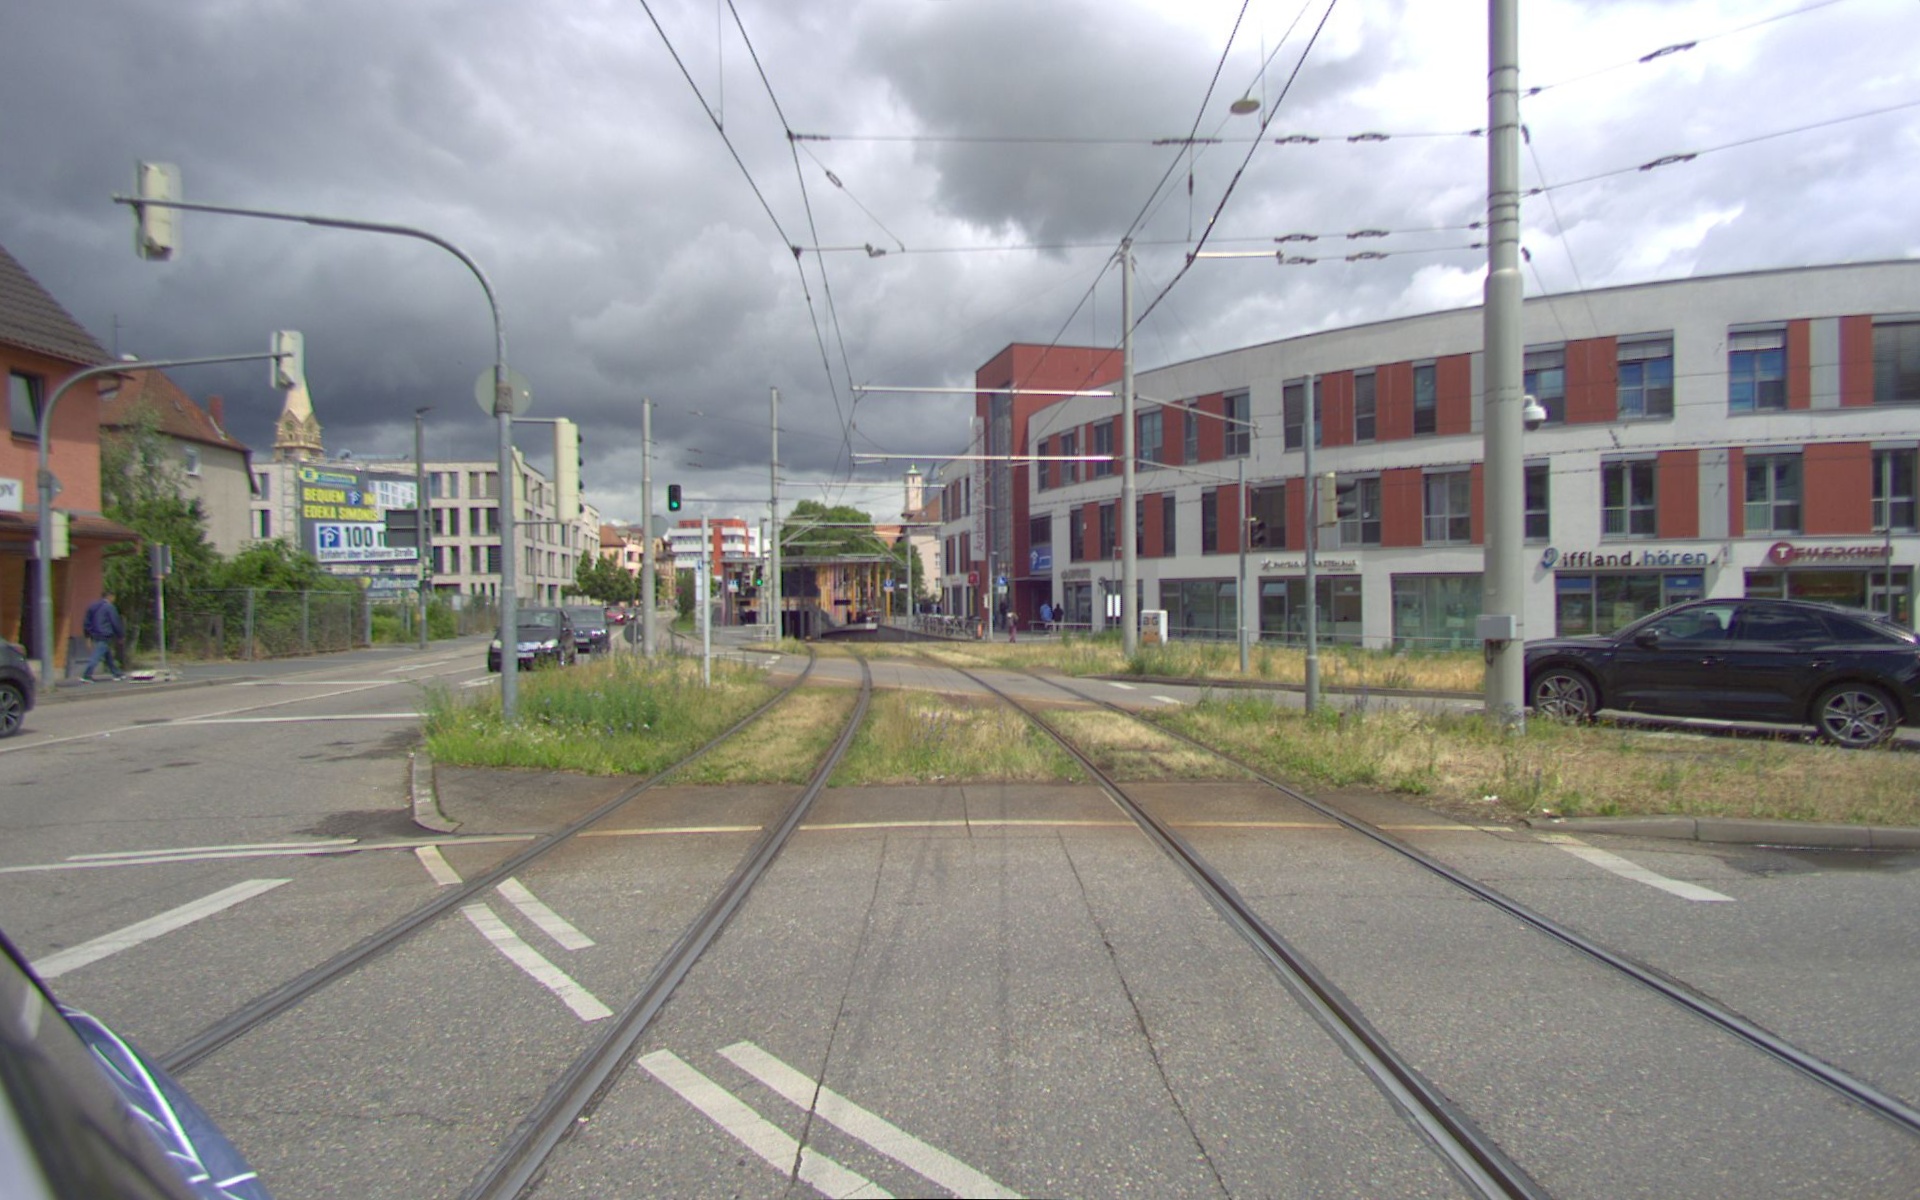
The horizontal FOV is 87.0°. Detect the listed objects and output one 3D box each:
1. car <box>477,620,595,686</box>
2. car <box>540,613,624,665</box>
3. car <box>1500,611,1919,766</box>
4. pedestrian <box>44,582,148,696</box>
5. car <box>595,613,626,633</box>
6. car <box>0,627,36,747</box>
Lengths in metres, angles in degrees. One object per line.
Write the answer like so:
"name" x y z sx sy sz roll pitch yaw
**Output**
"car" -10.717 1.290 25.858 1.853 1.439 4.007 -1 0 -9
"car" -13.259 1.318 35.758 1.968 1.662 4.429 -1 0 -10
"car" 9.322 1.003 12.409 4.483 1.581 1.928 0 -4 39
"pedestrian" -16.986 0.757 19.934 1.038 2.164 1.128 1 -1 1
"car" -27.472 1.763 79.660 1.966 1.469 4.011 -1 0 -15
"car" -11.916 1.027 9.790 1.890 1.381 4.862 -1 0 -6
